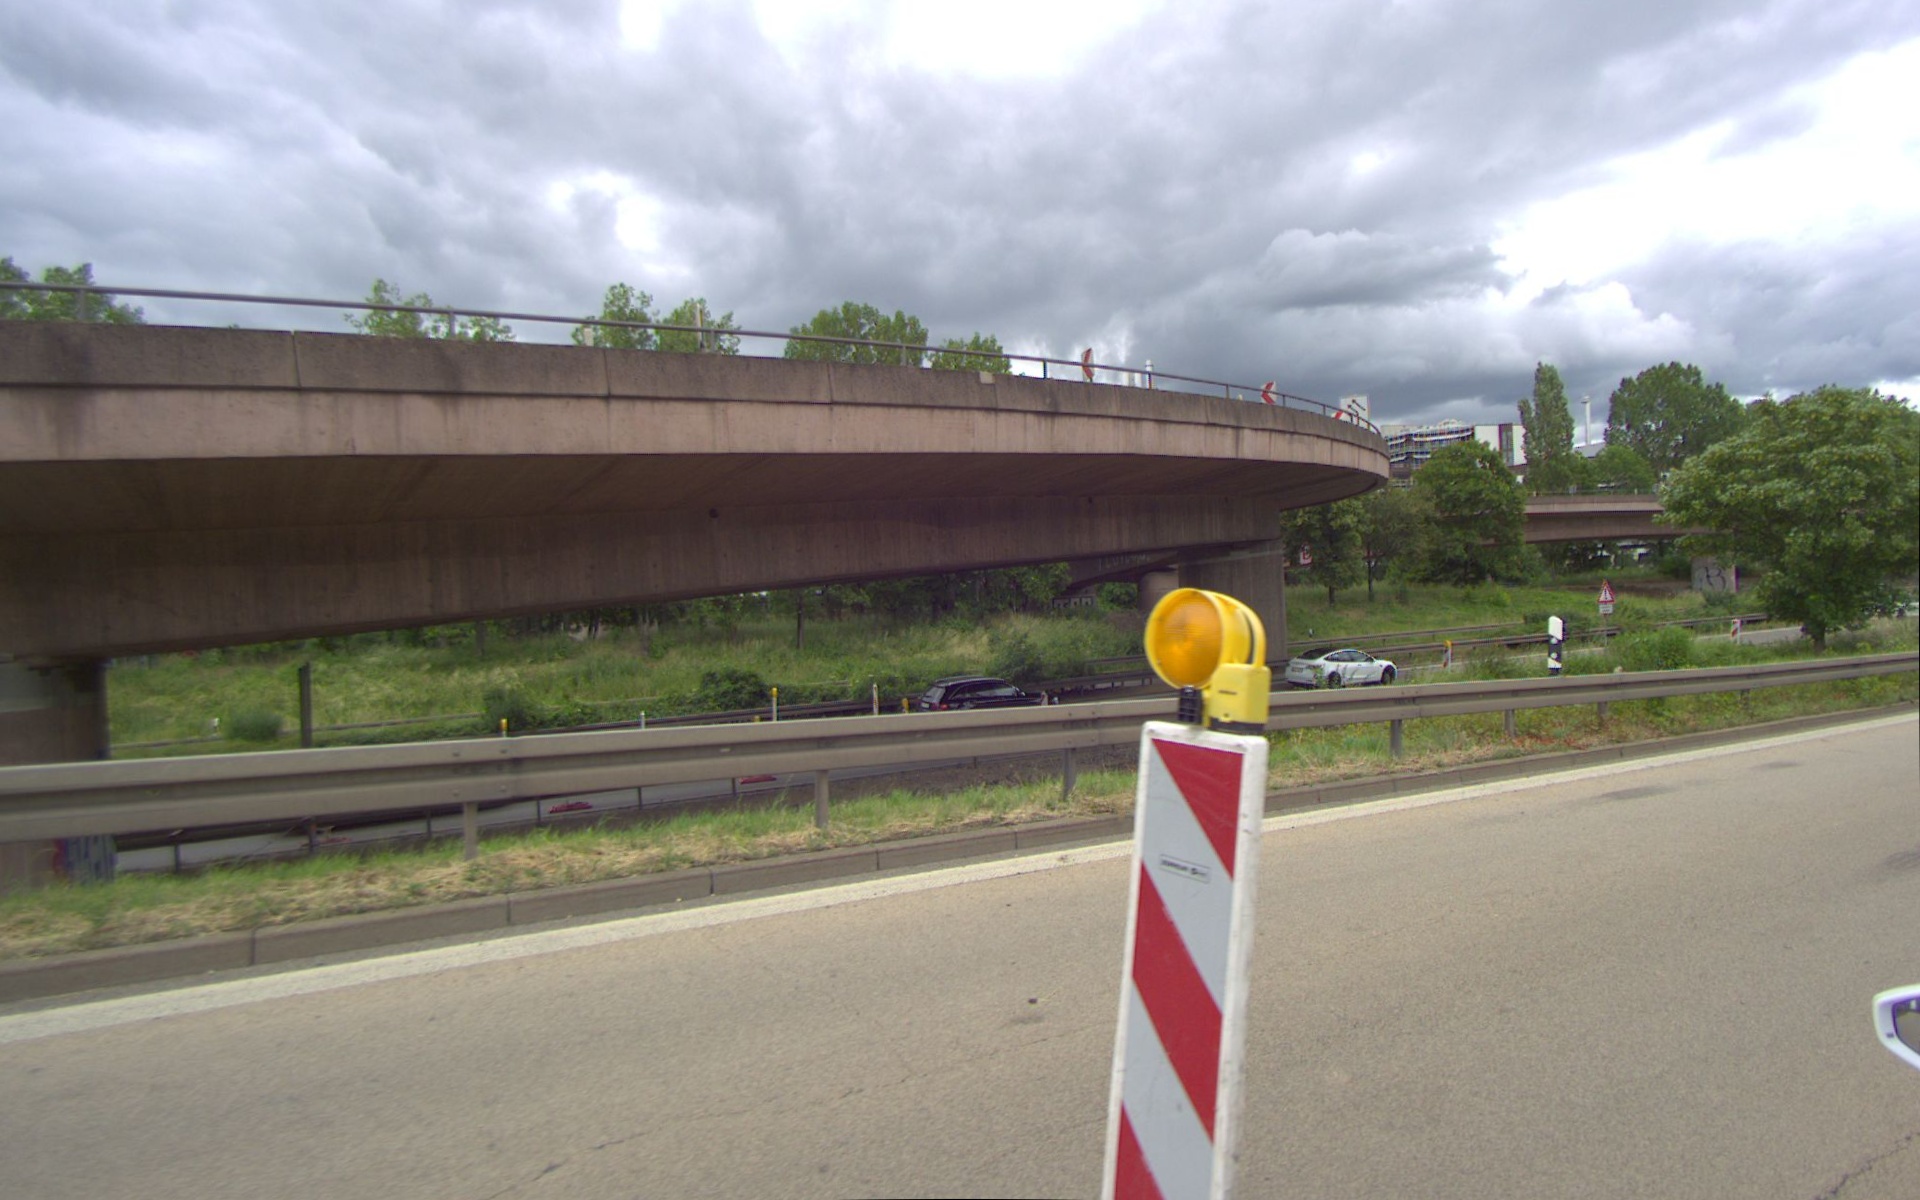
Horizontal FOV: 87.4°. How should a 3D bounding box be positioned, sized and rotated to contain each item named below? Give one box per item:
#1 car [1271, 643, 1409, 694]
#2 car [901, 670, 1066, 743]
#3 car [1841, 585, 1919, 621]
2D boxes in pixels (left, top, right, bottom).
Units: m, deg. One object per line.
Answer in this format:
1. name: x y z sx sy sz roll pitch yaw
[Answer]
1. car: 14.162 2.500 37.434 4.733 1.475 1.989 -2 1 -23
2. car: 0.705 3.151 30.365 4.513 1.636 2.032 -2 1 -23
3. car: 49.361 0.160 53.584 4.042 1.735 1.989 -2 1 -23
